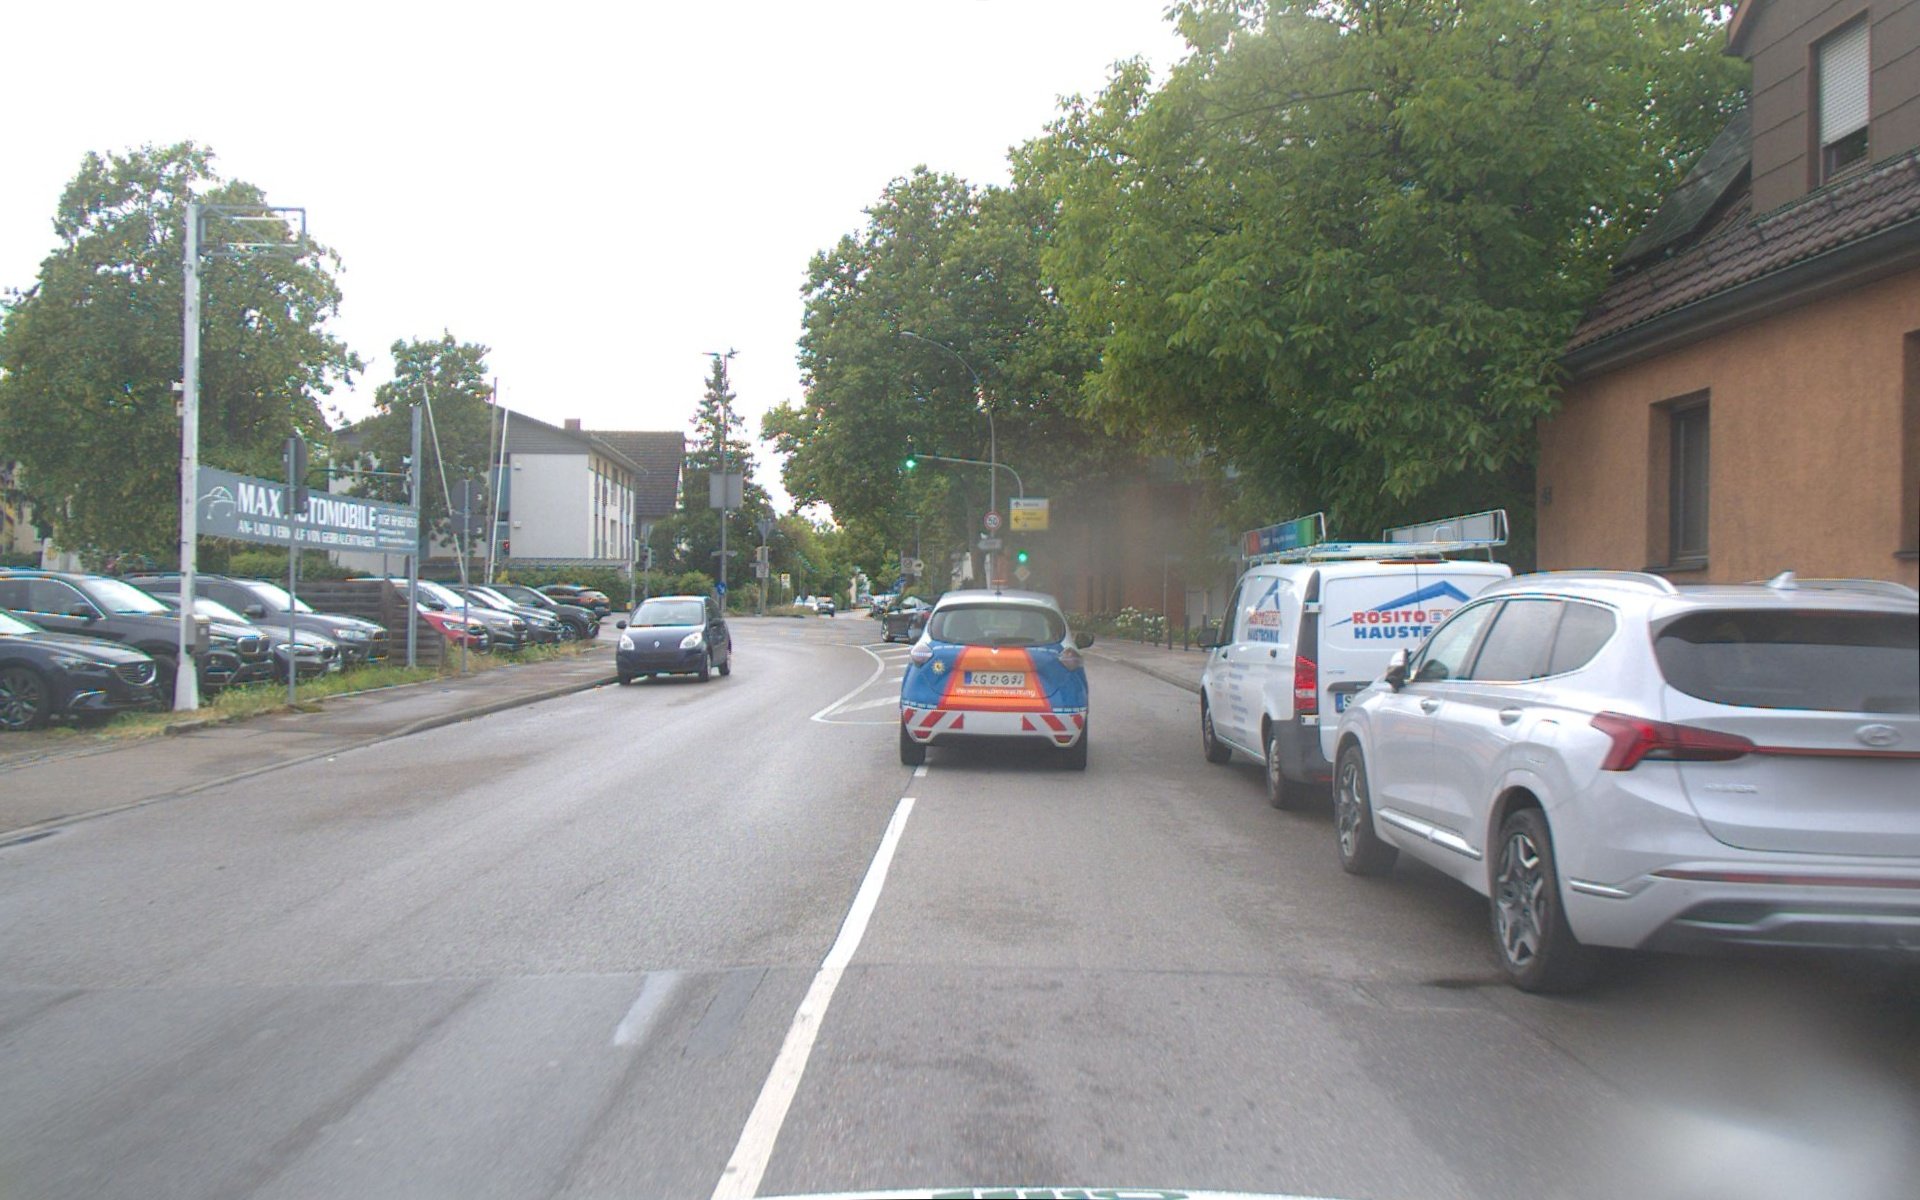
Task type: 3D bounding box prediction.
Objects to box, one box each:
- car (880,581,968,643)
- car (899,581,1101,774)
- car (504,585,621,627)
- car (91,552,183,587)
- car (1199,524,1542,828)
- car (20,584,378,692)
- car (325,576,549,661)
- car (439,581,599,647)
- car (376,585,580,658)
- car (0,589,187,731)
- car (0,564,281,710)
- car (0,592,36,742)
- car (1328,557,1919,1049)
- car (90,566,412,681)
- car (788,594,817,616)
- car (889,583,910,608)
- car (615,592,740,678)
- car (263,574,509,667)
[{"bbox_3d":[-1.078,0.303,47.711,1.957,1.601,3.992,2,1,-10],"label":"car"},{"bbox_3d":[0.425,0.633,16.006,1.709,1.608,4.002,0,1,2],"label":"car"},{"bbox_3d":[-15.013,0.211,62.570,3.902,1.453,1.801,2,1,6],"label":"car"},{"bbox_3d":[-44.165,-1.622,88.827,1.960,1.753,3.985,2,1,36],"label":"car"},{"bbox_3d":[3.196,0.479,13.884,1.741,2.064,4.755,2,1,1],"label":"car"},{"bbox_3d":[-10.927,0.519,23.981,4.259,1.457,1.959,1,0,-1],"label":"car"},{"bbox_3d":[-10.535,0.357,33.506,3.905,1.571,1.804,2,1,1],"label":"car"},{"bbox_3d":[-11.415,0.352,43.014,3.876,1.557,1.618,1,1,-12],"label":"car"},{"bbox_3d":[-10.533,0.449,36.345,3.905,1.466,1.804,2,1,1],"label":"car"},{"bbox_3d":[-11.293,0.620,18.607,4.259,1.489,1.941,1,0,-1],"label":"car"},{"bbox_3d":[-11.166,0.428,20.946,4.259,1.721,2.058,1,0,-1],"label":"car"},{"bbox_3d":[-11.486,0.650,16.110,3.905,1.489,1.839,1,0,-1],"label":"car"},{"bbox_3d":[3.222,0.703,7.923,1.828,1.694,4.319,1,0,-2],"label":"car"},{"bbox_3d":[-11.191,0.356,26.344,4.259,1.720,1.959,1,0,-1],"label":"car"},{"bbox_3d":[-10.945,0.357,114.961,1.904,1.477,4.294,2,-1,-6],"label":"car"},{"bbox_3d":[-5.225,-0.375,142.777,1.611,2.052,3.713,1,1,-4],"label":"car"},{"bbox_3d":[-5.052,0.580,29.964,1.593,1.458,3.684,0,0,0],"label":"car"},{"bbox_3d":[-10.600,0.364,30.733,3.905,1.571,1.804,2,1,1],"label":"car"}]
